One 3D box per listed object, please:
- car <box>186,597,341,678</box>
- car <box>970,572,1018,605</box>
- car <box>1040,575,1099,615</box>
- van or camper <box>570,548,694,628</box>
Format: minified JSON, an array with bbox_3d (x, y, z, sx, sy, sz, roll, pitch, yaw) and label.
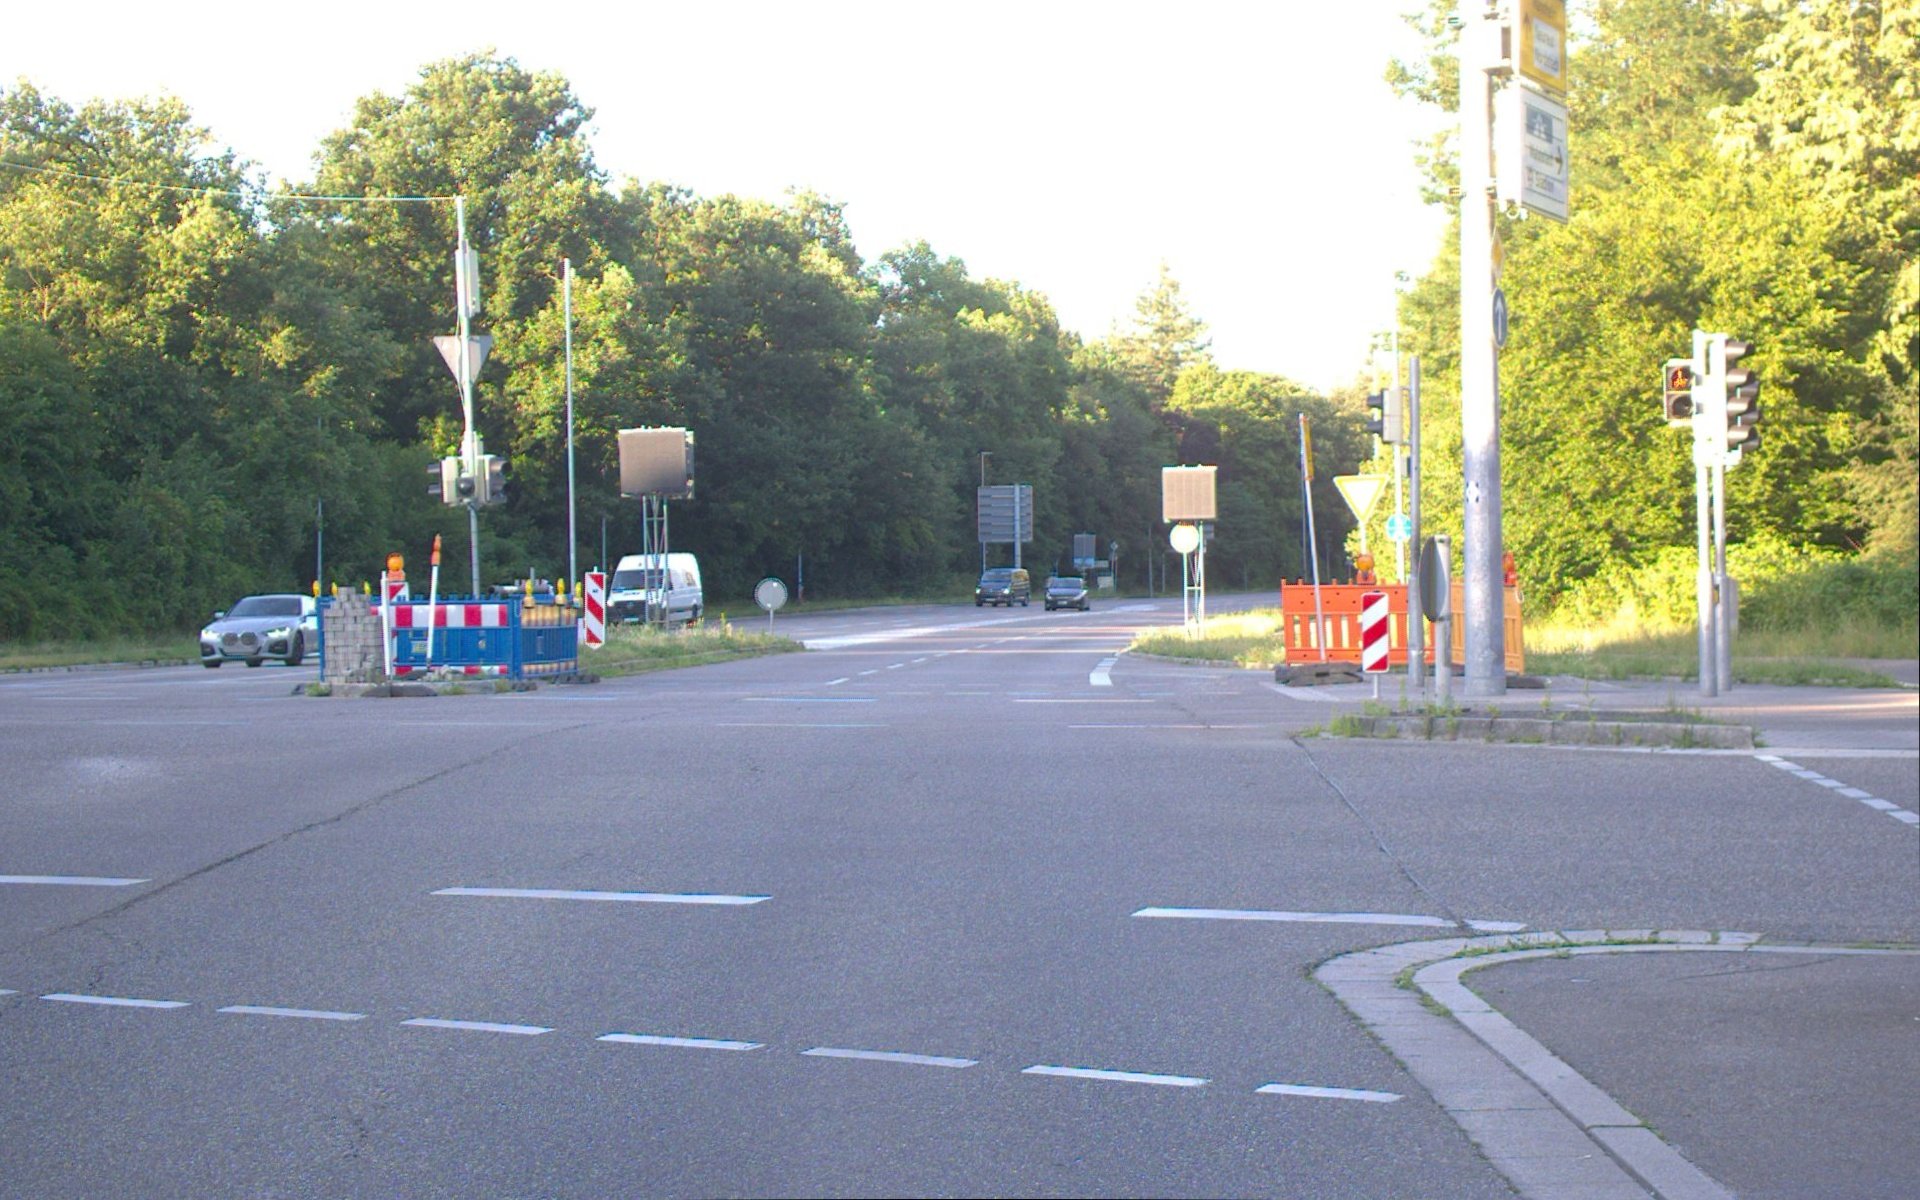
[{"bbox_3d":[-13.421,0.703,66.473,1.891,1.436,4.500,-1,1,3],"label":"car"},{"bbox_3d":[1.745,-0.592,176.973,1.994,1.634,3.999,0,1,7],"label":"car"},{"bbox_3d":[5.070,-0.247,158.214,1.994,1.634,3.998,-2,2,12],"label":"car"},{"bbox_3d":[-11.292,-0.461,118.891,2.886,2.643,7.120,0,1,6],"label":"van or camper"}]
